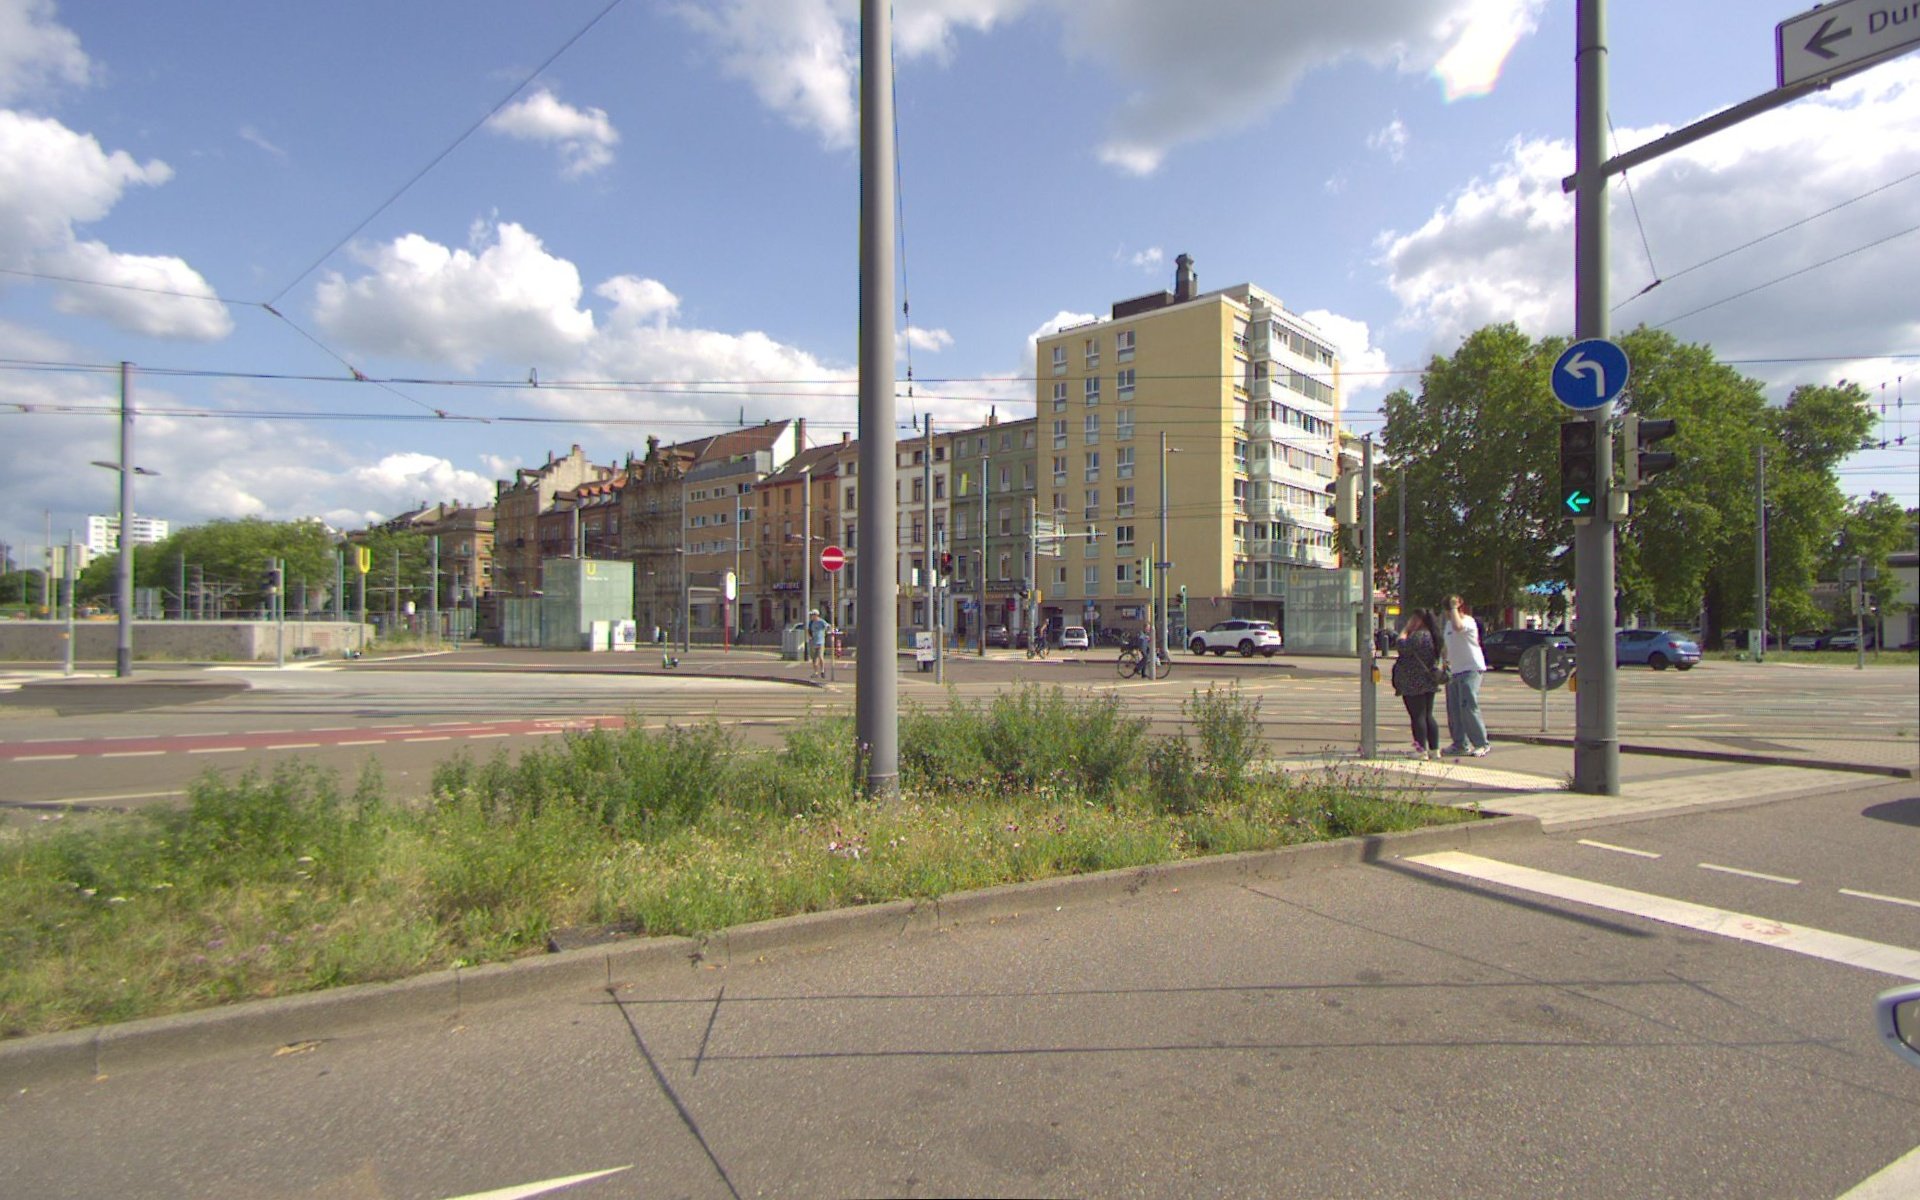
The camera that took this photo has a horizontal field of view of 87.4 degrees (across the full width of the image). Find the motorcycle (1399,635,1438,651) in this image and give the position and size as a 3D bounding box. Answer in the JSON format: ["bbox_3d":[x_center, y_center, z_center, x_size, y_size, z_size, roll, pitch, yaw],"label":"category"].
[{"bbox_3d":[28.177,2.638,61.787,2.003,0.929,0.811,-1,-1,2],"label":"motorcycle"}]

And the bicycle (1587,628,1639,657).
[{"bbox_3d":[33.134,2.142,50.996,2.143,1.433,0.808,0,0,41],"label":"bicycle"}]

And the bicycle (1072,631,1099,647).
[{"bbox_3d":[9.027,2.814,72.129,1.781,1.118,0.794,0,-1,37],"label":"bicycle"}]

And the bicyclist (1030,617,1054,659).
[{"bbox_3d":[3.615,1.679,44.246,0.767,1.821,0.707,2,0,37],"label":"bicyclist"}]

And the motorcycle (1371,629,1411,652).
[{"bbox_3d":[24.899,2.321,58.075,0.891,1.254,2.211,0,-1,-17],"label":"motorcycle"}]

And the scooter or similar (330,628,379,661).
[{"bbox_3d":[-22.461,1.651,37.294,0.836,1.120,1.645,2,0,-1],"label":"scooter or similar"}]

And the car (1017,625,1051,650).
[{"bbox_3d":[4.728,2.429,64.716,1.862,1.516,3.900,1,-2,-1],"label":"car"}]

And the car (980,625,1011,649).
[{"bbox_3d":[2.326,2.481,67.170,1.862,1.516,3.900,1,-2,-1],"label":"car"}]

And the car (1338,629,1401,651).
[{"bbox_3d":[30.327,2.939,74.444,3.941,1.515,1.794,-1,-2,41],"label":"car"}]

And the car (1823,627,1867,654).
[{"bbox_3d":[71.200,3.301,80.770,4.196,2.040,1.978,3,-4,-39],"label":"car"}]

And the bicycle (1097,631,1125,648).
[{"bbox_3d":[10.673,2.789,70.939,1.781,1.118,0.794,0,-1,37],"label":"bicycle"}]

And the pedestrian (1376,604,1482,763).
[{"bbox_3d":[5.172,0.898,11.092,0.686,1.669,0.842,2,-2,-35],"label":"pedestrian"}]

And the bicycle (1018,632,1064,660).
[{"bbox_3d":[3.578,2.013,44.209,0.875,1.153,2.349,2,0,36],"label":"bicycle"}]

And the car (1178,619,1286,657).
[{"bbox_3d":[12.518,1.702,46.389,2.029,1.599,4.489,2,-1,-39],"label":"car"}]

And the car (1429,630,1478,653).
[{"bbox_3d":[32.778,2.783,66.656,1.885,1.432,3.977,-2,-4,43],"label":"car"}]

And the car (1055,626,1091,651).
[{"bbox_3d":[7.157,2.454,63.957,1.862,1.516,3.901,1,-2,0],"label":"car"}]

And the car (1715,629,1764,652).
[{"bbox_3d":[67.856,3.565,87.436,5.019,1.962,1.955,3,-4,-36],"label":"car"}]

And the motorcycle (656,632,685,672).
[{"bbox_3d":[-9.282,1.661,32.156,0.479,1.253,1.434,2,-2,-32],"label":"motorcycle"}]

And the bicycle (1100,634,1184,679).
[{"bbox_3d":[5.062,1.551,28.137,0.986,1.204,2.277,2,-3,-37],"label":"bicycle"}]

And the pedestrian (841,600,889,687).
[{"bbox_3d":[-2.173,0.975,23.031,0.753,1.928,0.826,2,0,24],"label":"pedestrian"}]

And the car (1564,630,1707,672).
[{"bbox_3d":[24.453,1.824,36.497,1.720,1.395,3.971,2,-1,-28],"label":"car"}]

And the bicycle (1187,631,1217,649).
[{"bbox_3d":[15.931,2.627,66.197,1.781,1.118,0.794,0,-1,37],"label":"bicycle"}]

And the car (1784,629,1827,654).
[{"bbox_3d":[69.934,3.443,83.109,4.196,1.962,1.952,3,-4,-39],"label":"car"}]

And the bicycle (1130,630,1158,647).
[{"bbox_3d":[12.687,2.629,69.247,1.781,1.118,0.794,0,-1,37],"label":"bicycle"}]

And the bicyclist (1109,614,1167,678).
[{"bbox_3d":[4.998,1.285,28.235,0.986,1.753,1.288,2,-2,-37],"label":"bicyclist"}]

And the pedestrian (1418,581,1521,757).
[{"bbox_3d":[5.880,0.780,11.610,0.686,1.942,0.842,2,-2,-35],"label":"pedestrian"}]

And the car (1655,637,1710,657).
[{"bbox_3d":[69.947,4.542,97.312,1.818,1.813,3.974,2,-3,-26],"label":"car"}]

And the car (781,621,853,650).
[{"bbox_3d":[-8.484,2.102,59.448,4.228,1.661,2.031,-1,-2,44],"label":"car"}]

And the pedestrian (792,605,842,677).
[{"bbox_3d":[-3.722,1.059,26.126,1.017,1.821,0.761,2,0,-32],"label":"pedestrian"}]
